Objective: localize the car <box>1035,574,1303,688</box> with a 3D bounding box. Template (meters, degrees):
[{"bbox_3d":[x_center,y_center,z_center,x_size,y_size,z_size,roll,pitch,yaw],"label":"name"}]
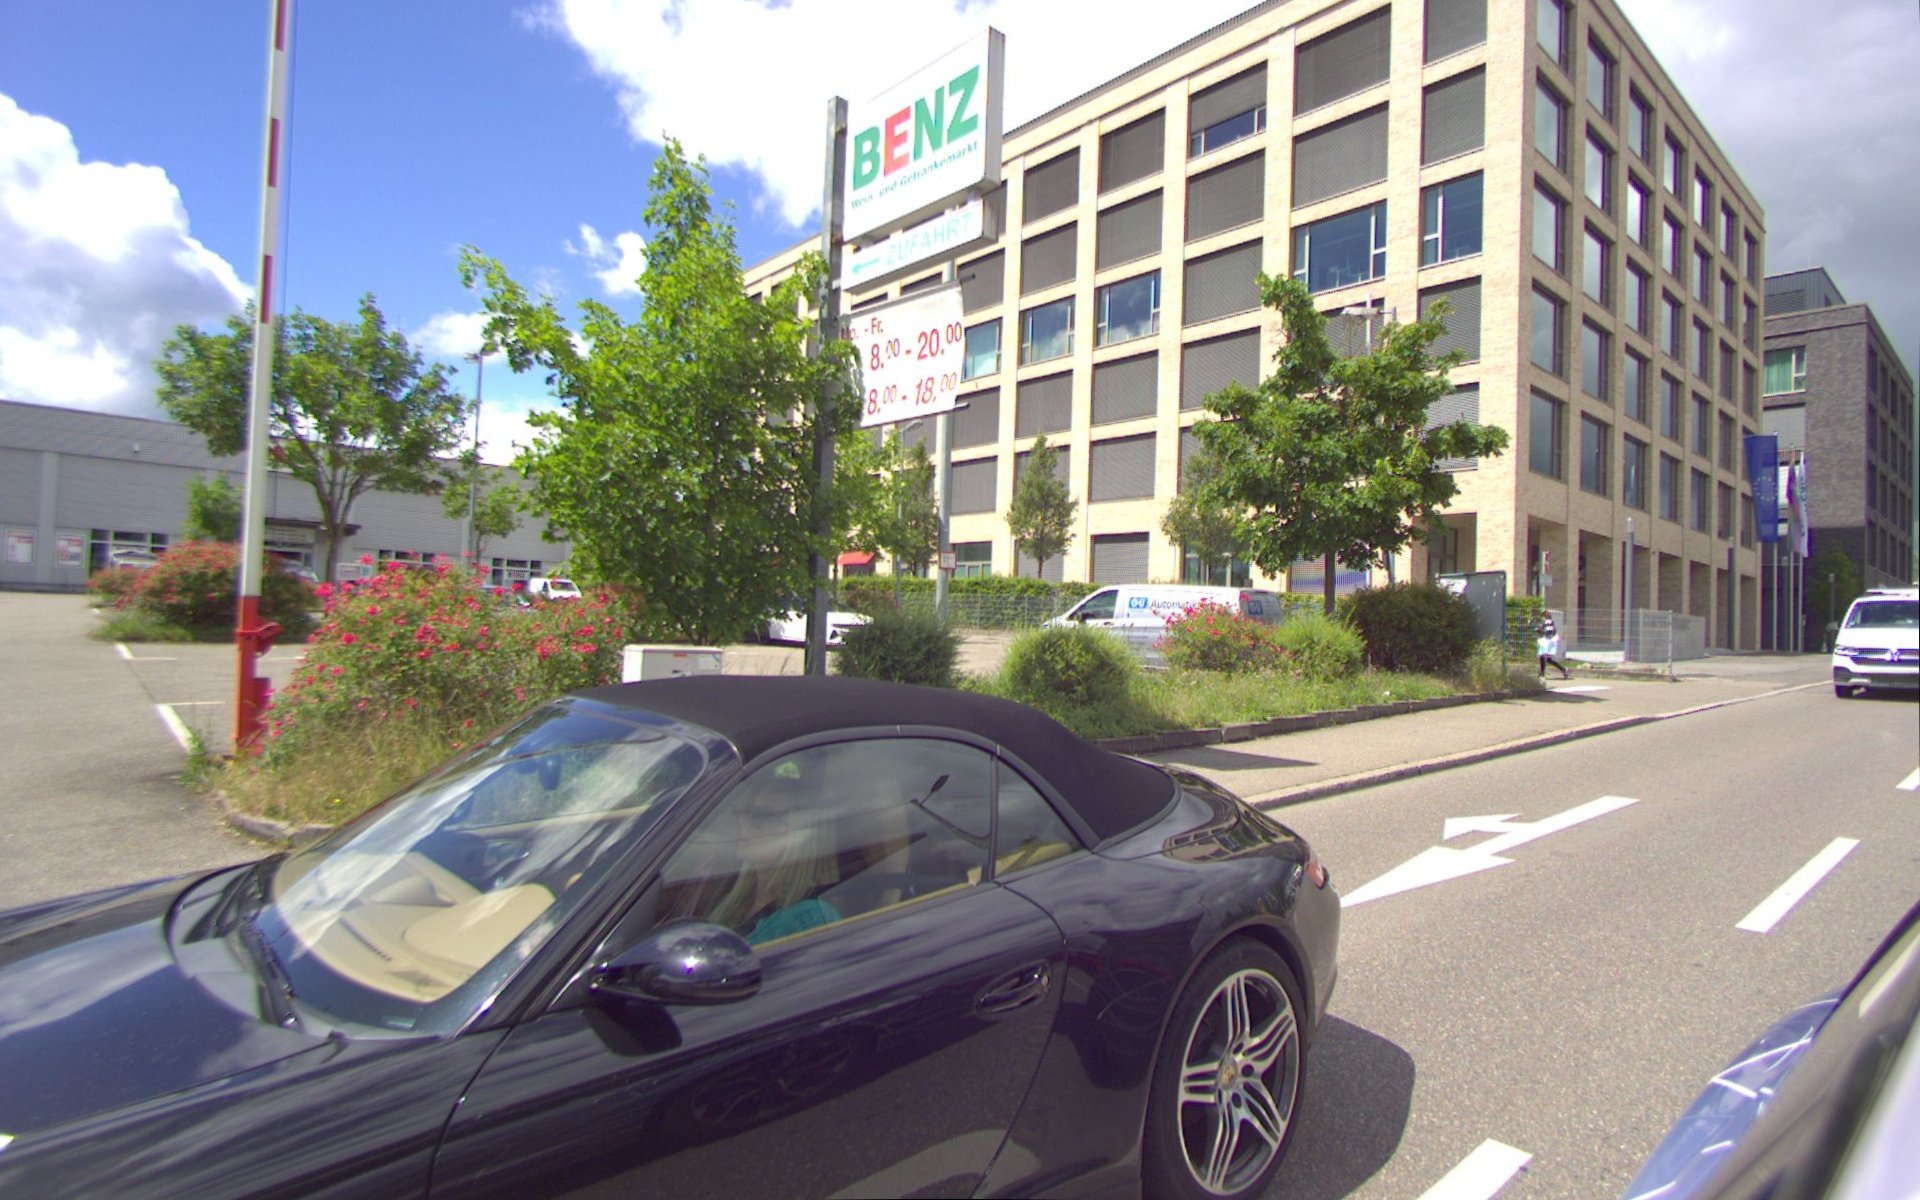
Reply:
[{"bbox_3d":[3.948,0.484,19.656,4.706,1.871,2.057,3,1,43],"label":"car"}]

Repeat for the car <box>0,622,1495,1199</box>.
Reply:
[{"bbox_3d":[-0.848,0.837,2.403,4.124,1.394,1.938,5,-3,-32],"label":"car"}]

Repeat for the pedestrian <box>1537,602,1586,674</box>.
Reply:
[{"bbox_3d":[13.375,0.830,22.508,0.841,1.555,0.688,2,-1,-41],"label":"pedestrian"}]

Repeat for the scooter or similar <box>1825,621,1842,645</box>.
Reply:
[{"bbox_3d":[44.290,1.661,51.299,1.379,1.167,0.427,2,-1,-41],"label":"scooter or similar"}]

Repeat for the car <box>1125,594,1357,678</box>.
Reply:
[{"bbox_3d":[5.899,0.678,21.649,1.965,1.500,4.441,0,1,-41],"label":"car"}]

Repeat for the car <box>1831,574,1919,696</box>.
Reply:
[{"bbox_3d":[18.256,0.620,19.101,4.130,2.116,1.936,1,1,-38],"label":"car"}]

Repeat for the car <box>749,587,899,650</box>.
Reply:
[{"bbox_3d":[-3.833,0.475,27.911,1.857,1.510,4.438,2,0,-43],"label":"car"}]

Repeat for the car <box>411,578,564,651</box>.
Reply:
[{"bbox_3d":[-10.215,0.274,21.763,1.857,1.387,3.875,2,0,-43],"label":"car"}]
